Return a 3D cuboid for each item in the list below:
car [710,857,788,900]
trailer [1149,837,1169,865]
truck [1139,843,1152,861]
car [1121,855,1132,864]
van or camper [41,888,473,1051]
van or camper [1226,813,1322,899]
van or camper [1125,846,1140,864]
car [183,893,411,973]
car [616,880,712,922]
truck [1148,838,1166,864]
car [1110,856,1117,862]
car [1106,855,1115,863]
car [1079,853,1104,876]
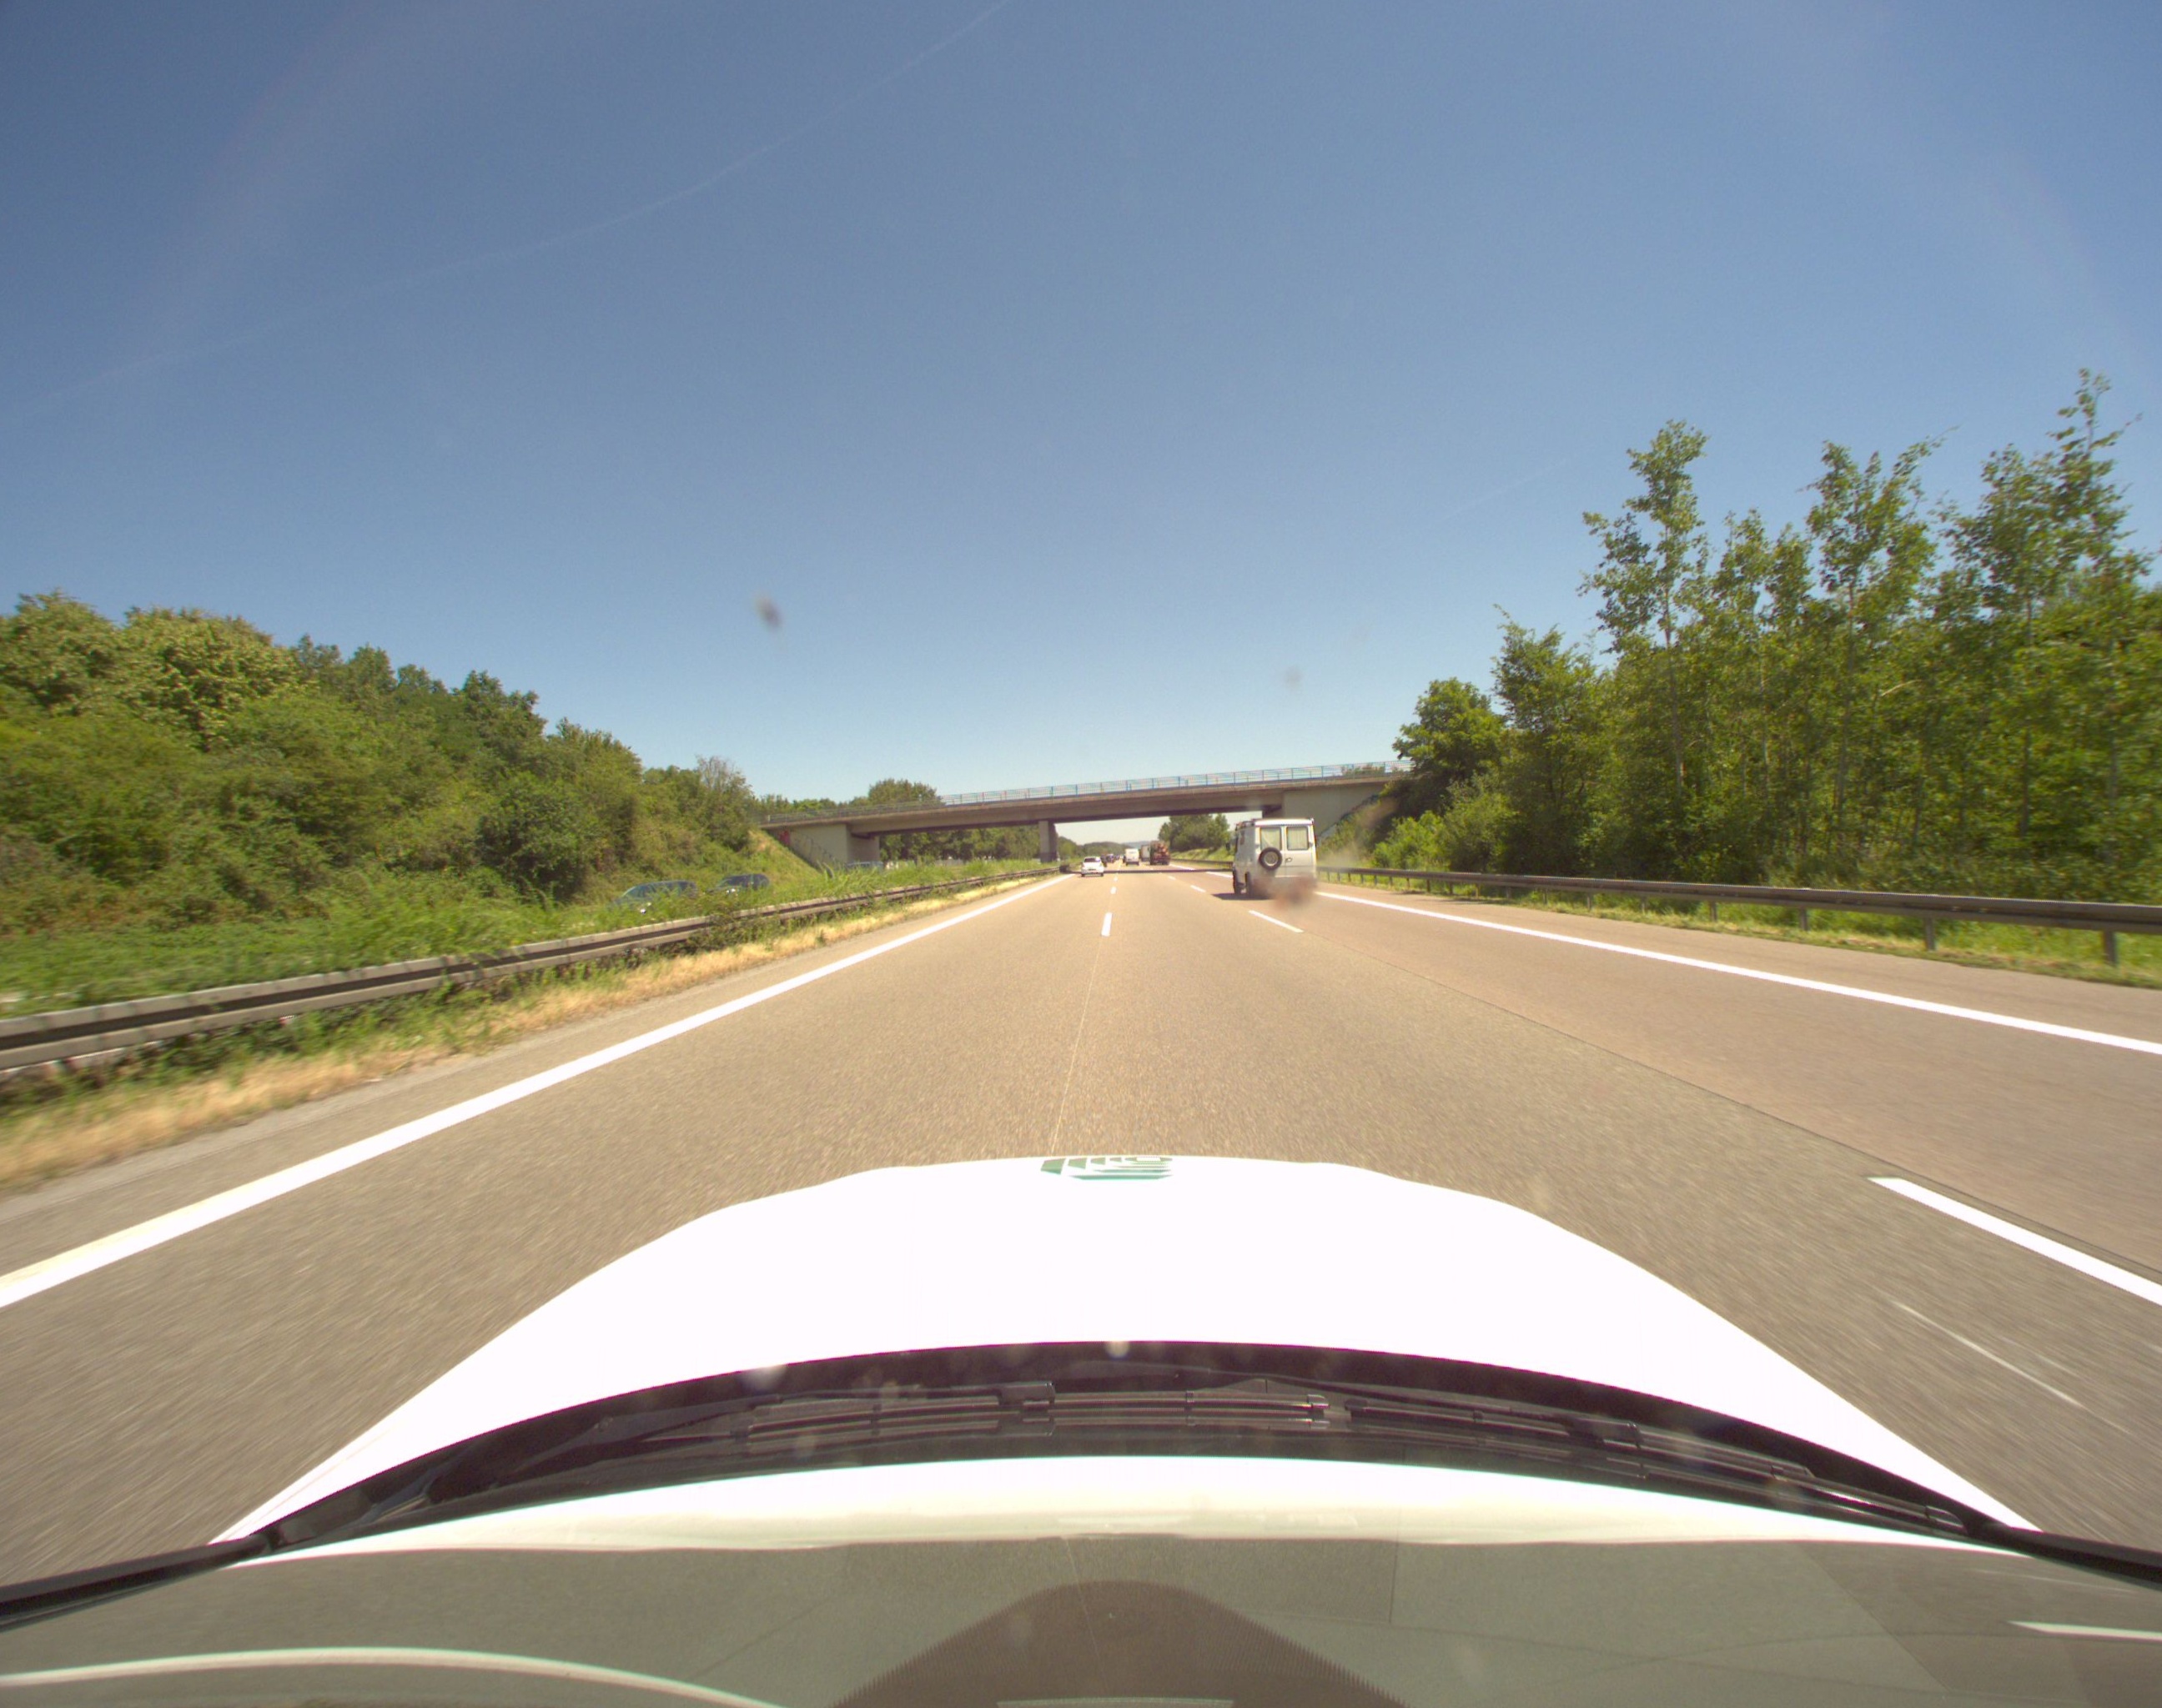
[{"bbox_3d":[-16.788,1.212,41.407,1.984,2.013,4.005,-2,0,4],"label":"car"},{"bbox_3d":[12.033,-0.432,126.603,2.642,3.958,13.648,-1,0,3],"label":"trailer"},{"bbox_3d":[16.154,-0.484,204.090,3.065,4.209,16.860,0,0,4],"label":"truck"},{"bbox_3d":[8.883,1.029,159.313,1.850,1.652,4.002,-1,0,2],"label":"car"},{"bbox_3d":[-13.687,1.753,14.211,1.986,2.013,5.251,-3,0,2],"label":"van or camper"},{"bbox_3d":[6.746,0.073,29.254,2.105,2.703,6.371,-1,0,2],"label":"van or camper"},{"bbox_3d":[7.755,0.109,123.052,2.049,2.622,5.990,-2,0,3],"label":"van or camper"},{"bbox_3d":[-20.298,1.979,21.379,1.985,1.717,4.003,0,0,3],"label":"car"},{"bbox_3d":[-14.224,1.567,27.950,1.420,1.252,3.288,0,0,4],"label":"car"},{"bbox_3d":[12.466,-0.462,133.621,2.658,3.994,6.642,-1,0,3],"label":"truck"},{"bbox_3d":[8.784,1.313,218.569,1.850,1.652,4.002,-1,0,2],"label":"car"},{"bbox_3d":[6.141,1.030,168.161,1.850,1.652,4.002,-1,0,2],"label":"car"},{"bbox_3d":[0.841,0.787,62.561,1.850,1.652,4.002,0,0,2],"label":"car"}]
